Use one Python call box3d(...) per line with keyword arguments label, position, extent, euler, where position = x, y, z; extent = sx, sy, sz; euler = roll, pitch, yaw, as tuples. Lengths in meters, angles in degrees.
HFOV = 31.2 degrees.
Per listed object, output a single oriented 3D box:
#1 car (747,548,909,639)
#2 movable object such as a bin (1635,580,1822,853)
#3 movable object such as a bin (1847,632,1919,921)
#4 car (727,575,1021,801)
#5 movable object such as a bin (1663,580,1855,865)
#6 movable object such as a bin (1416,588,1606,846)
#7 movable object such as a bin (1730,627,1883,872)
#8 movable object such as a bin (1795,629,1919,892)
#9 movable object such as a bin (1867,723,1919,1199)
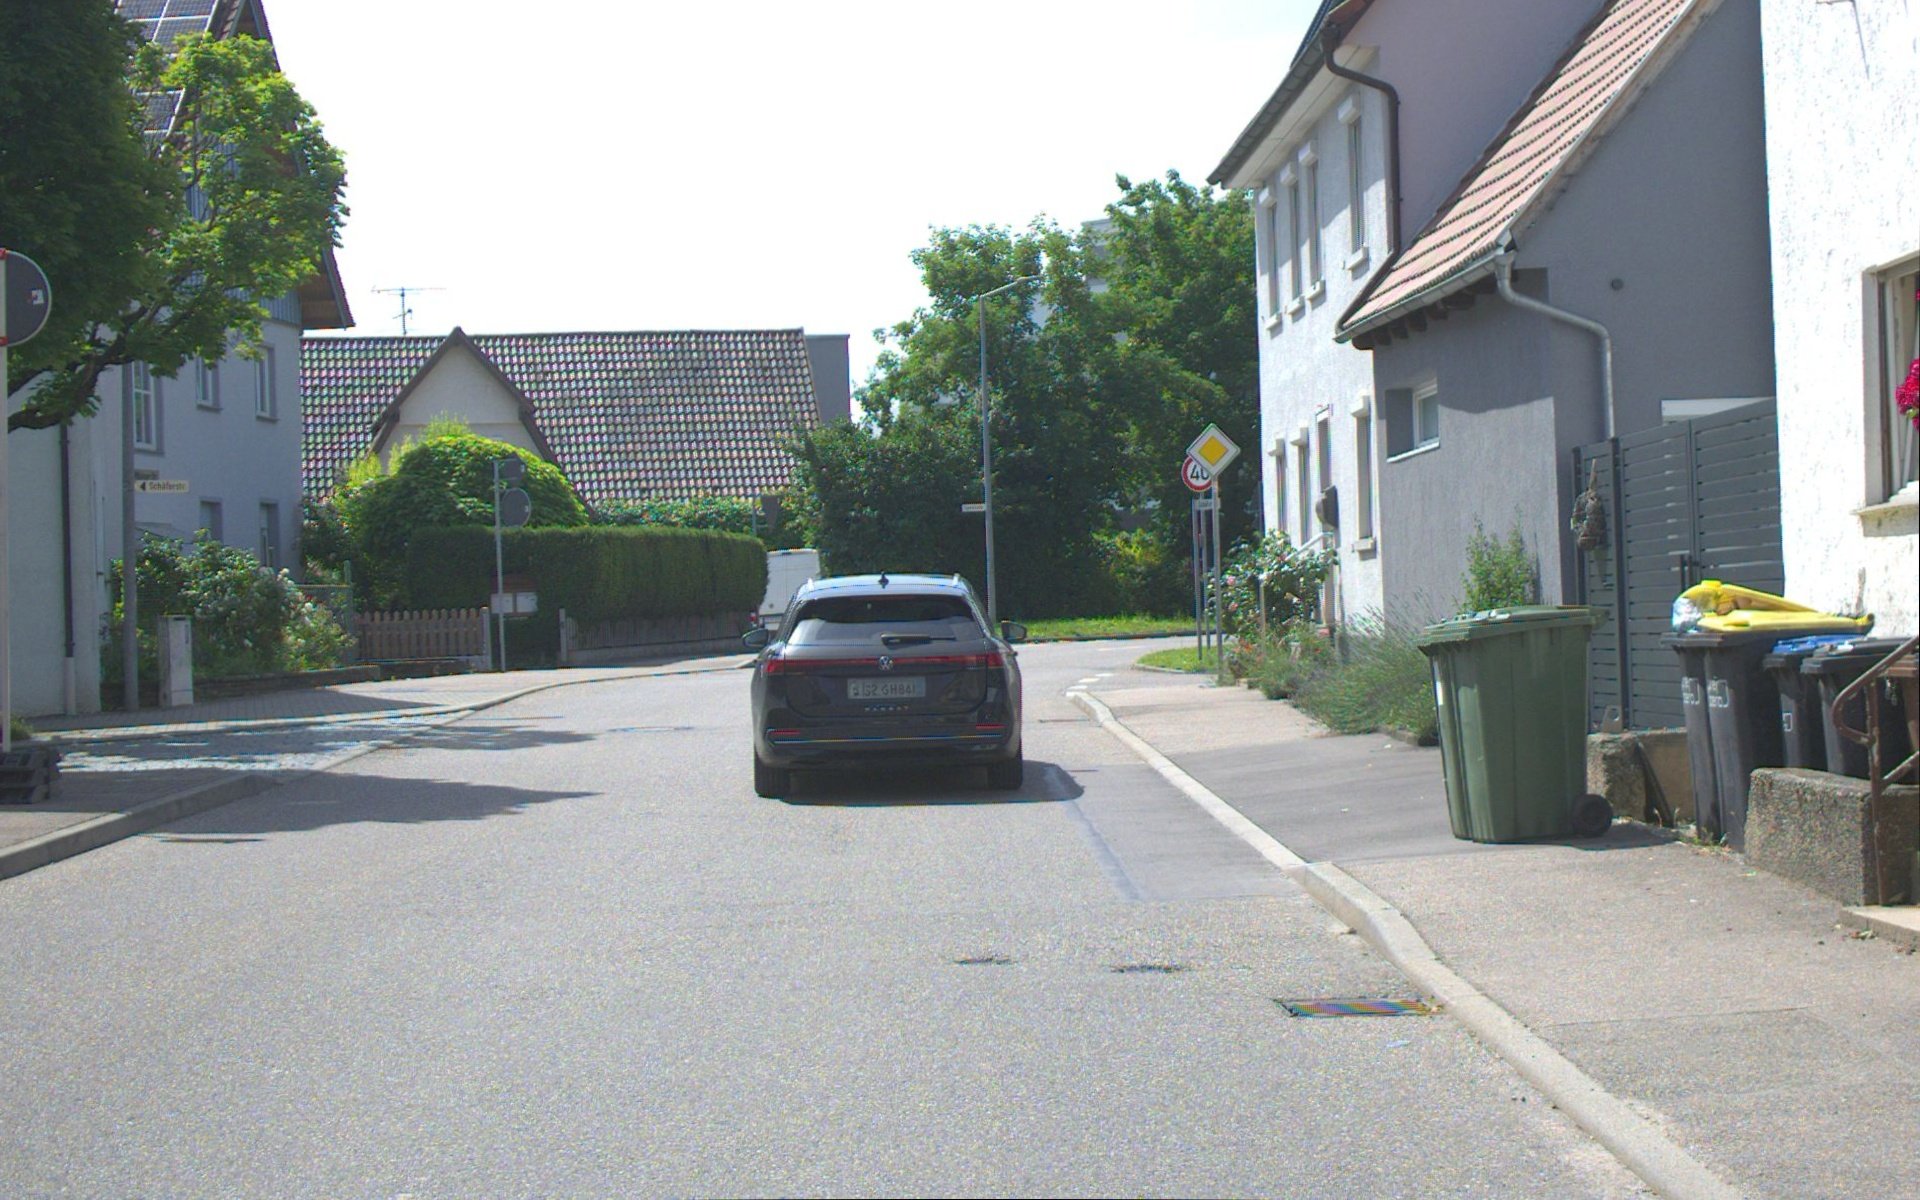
box3d(label="car", position=(-3.104, -0.179, 81.843), extent=(2.130, 2.007, 4.933), euler=(-1, 1, 20))
box3d(label="movable object such as a bin", position=(3.480, 0.518, 15.610), extent=(0.665, 1.190, 0.660), euler=(-2, 1, -1))
box3d(label="movable object such as a bin", position=(3.689, 0.644, 12.830), extent=(0.592, 1.036, 0.530), euler=(-2, 1, -1))
box3d(label="car", position=(-0.518, 0.538, 23.942), extent=(1.841, 1.415, 4.682), euler=(0, 0, 1))
box3d(label="movable object such as a bin", position=(3.461, 0.519, 14.933), extent=(0.665, 1.190, 0.588), euler=(-2, 1, -1))
box3d(label="movable object such as a bin", position=(2.550, 0.529, 15.981), extent=(0.678, 1.151, 0.820), euler=(-1, 1, -5))
box3d(label="movable object such as a bin", position=(3.543, 0.618, 14.405), extent=(0.503, 0.990, 0.442), euler=(-2, 1, -1))
box3d(label="movable object such as a bin", position=(3.585, 0.619, 13.453), extent=(0.503, 0.990, 0.442), euler=(-2, 1, -1))
box3d(label="movable object such as a bin", position=(2.446, 0.763, 6.890), extent=(0.875, 1.071, 0.873), euler=(-6, 1, -5))
